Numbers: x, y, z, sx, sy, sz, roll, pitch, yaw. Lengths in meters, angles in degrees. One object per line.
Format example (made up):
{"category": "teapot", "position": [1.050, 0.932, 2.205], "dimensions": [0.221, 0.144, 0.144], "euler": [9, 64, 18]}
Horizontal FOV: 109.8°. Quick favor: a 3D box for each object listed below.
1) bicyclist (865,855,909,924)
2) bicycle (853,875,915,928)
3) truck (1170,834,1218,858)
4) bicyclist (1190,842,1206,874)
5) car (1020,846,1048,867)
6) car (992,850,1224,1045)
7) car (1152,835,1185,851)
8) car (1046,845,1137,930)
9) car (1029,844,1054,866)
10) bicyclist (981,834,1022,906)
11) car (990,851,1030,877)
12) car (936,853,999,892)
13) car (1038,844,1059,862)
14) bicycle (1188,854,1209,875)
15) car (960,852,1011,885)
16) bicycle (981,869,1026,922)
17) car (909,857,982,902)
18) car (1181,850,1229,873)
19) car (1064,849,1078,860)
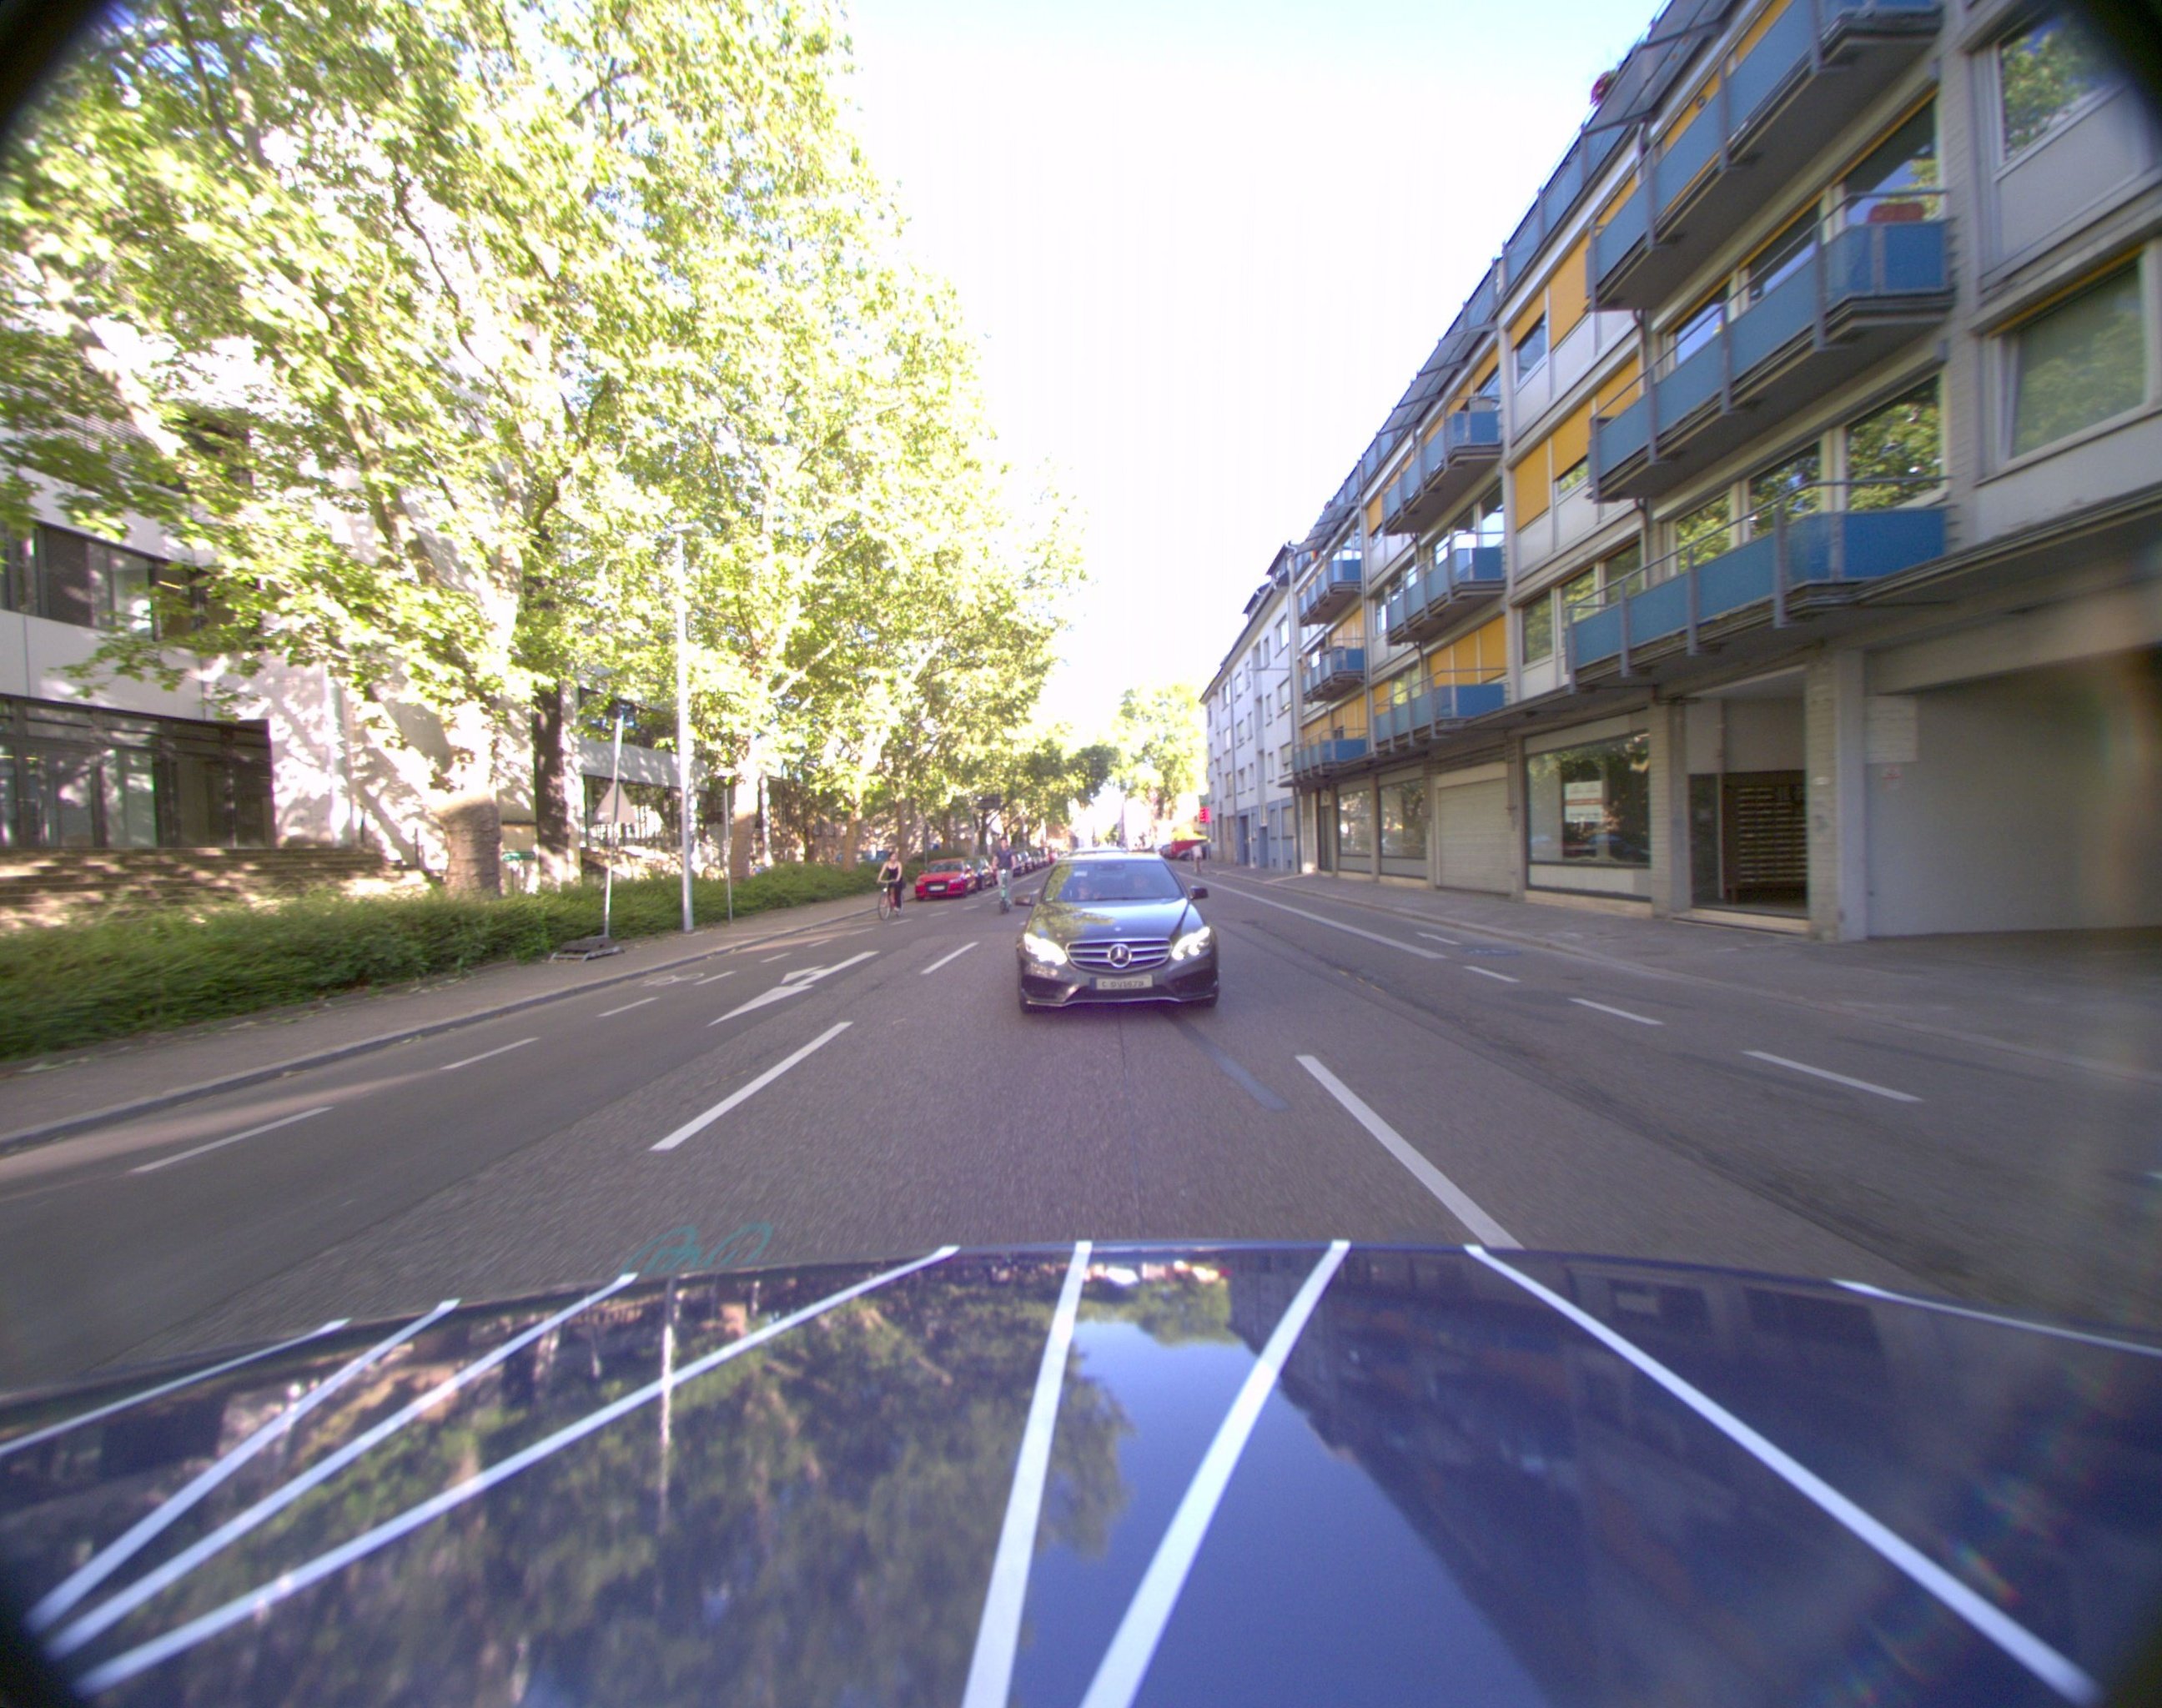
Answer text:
{"category": "bicyclist", "position": [-4.959, 0.893, 19.467], "dimensions": [0.770, 1.670, 0.895], "euler": [-4, 2, 0]}
{"category": "bicycle", "position": [-4.945, 1.166, 19.331], "dimensions": [0.770, 1.129, 2.815], "euler": [-3, 0, 0]}
{"category": "truck", "position": [11.047, -0.825, 74.611], "dimensions": [4.404, 2.146, 1.877], "euler": [-2, 2, 0]}
{"category": "bicyclist", "position": [6.170, 0.214, 39.995], "dimensions": [0.692, 1.621, 0.758], "euler": [-1, 2, 0]}
{"category": "car", "position": [-4.007, 0.174, 65.295], "dimensions": [1.898, 1.642, 4.077], "euler": [-2, 1, 2]}
{"category": "car", "position": [0.363, 0.745, 8.441], "dimensions": [1.798, 1.460, 4.720], "euler": [-2, 1, 4]}
{"category": "car", "position": [11.492, -1.461, 99.819], "dimensions": [3.997, 2.002, 1.999], "euler": [-2, 2, -1]}
{"category": "car", "position": [0.287, 0.642, 17.085], "dimensions": [1.747, 1.594, 4.000], "euler": [-2, 1, 2]}
{"category": "car", "position": [-3.593, 0.076, 70.044], "dimensions": [1.898, 1.841, 4.077], "euler": [-2, 1, 2]}
{"category": "bicyclist", "position": [-2.015, 0.384, 19.361], "dimensions": [0.770, 1.723, 0.901], "euler": [-6, 2, 0]}
{"category": "car", "position": [-4.411, 0.572, 47.820], "dimensions": [1.898, 1.443, 4.077], "euler": [-2, 1, 2]}
{"category": "car", "position": [-4.839, 0.759, 32.935], "dimensions": [1.898, 1.439, 4.077], "euler": [-2, 1, 2]}
{"category": "car", "position": [-3.437, -0.150, 81.030], "dimensions": [1.898, 1.808, 4.077], "euler": [-2, 1, 2]}
{"category": "bicycle", "position": [6.171, 0.542, 39.948], "dimensions": [0.692, 0.981, 2.631], "euler": [-1, 1, 0]}
{"category": "car", "position": [-4.764, 0.706, 38.437], "dimensions": [1.898, 1.443, 4.077], "euler": [-2, 1, 2]}
{"category": "bicycle", "position": [-1.934, 0.999, 19.300], "dimensions": [0.770, 1.129, 2.815], "euler": [-4, 0, 0]}
{"category": "car", "position": [-4.937, 0.884, 28.219], "dimensions": [1.898, 1.435, 4.076], "euler": [-2, 1, 0]}
{"category": "car", "position": [11.277, 0.683, 69.366], "dimensions": [3.997, 1.825, 1.830], "euler": [-2, 2, 0]}
{"category": "car", "position": [-1.585, 0.095, 117.184], "dimensions": [1.898, 1.542, 4.077], "euler": [-2, 1, 2]}
